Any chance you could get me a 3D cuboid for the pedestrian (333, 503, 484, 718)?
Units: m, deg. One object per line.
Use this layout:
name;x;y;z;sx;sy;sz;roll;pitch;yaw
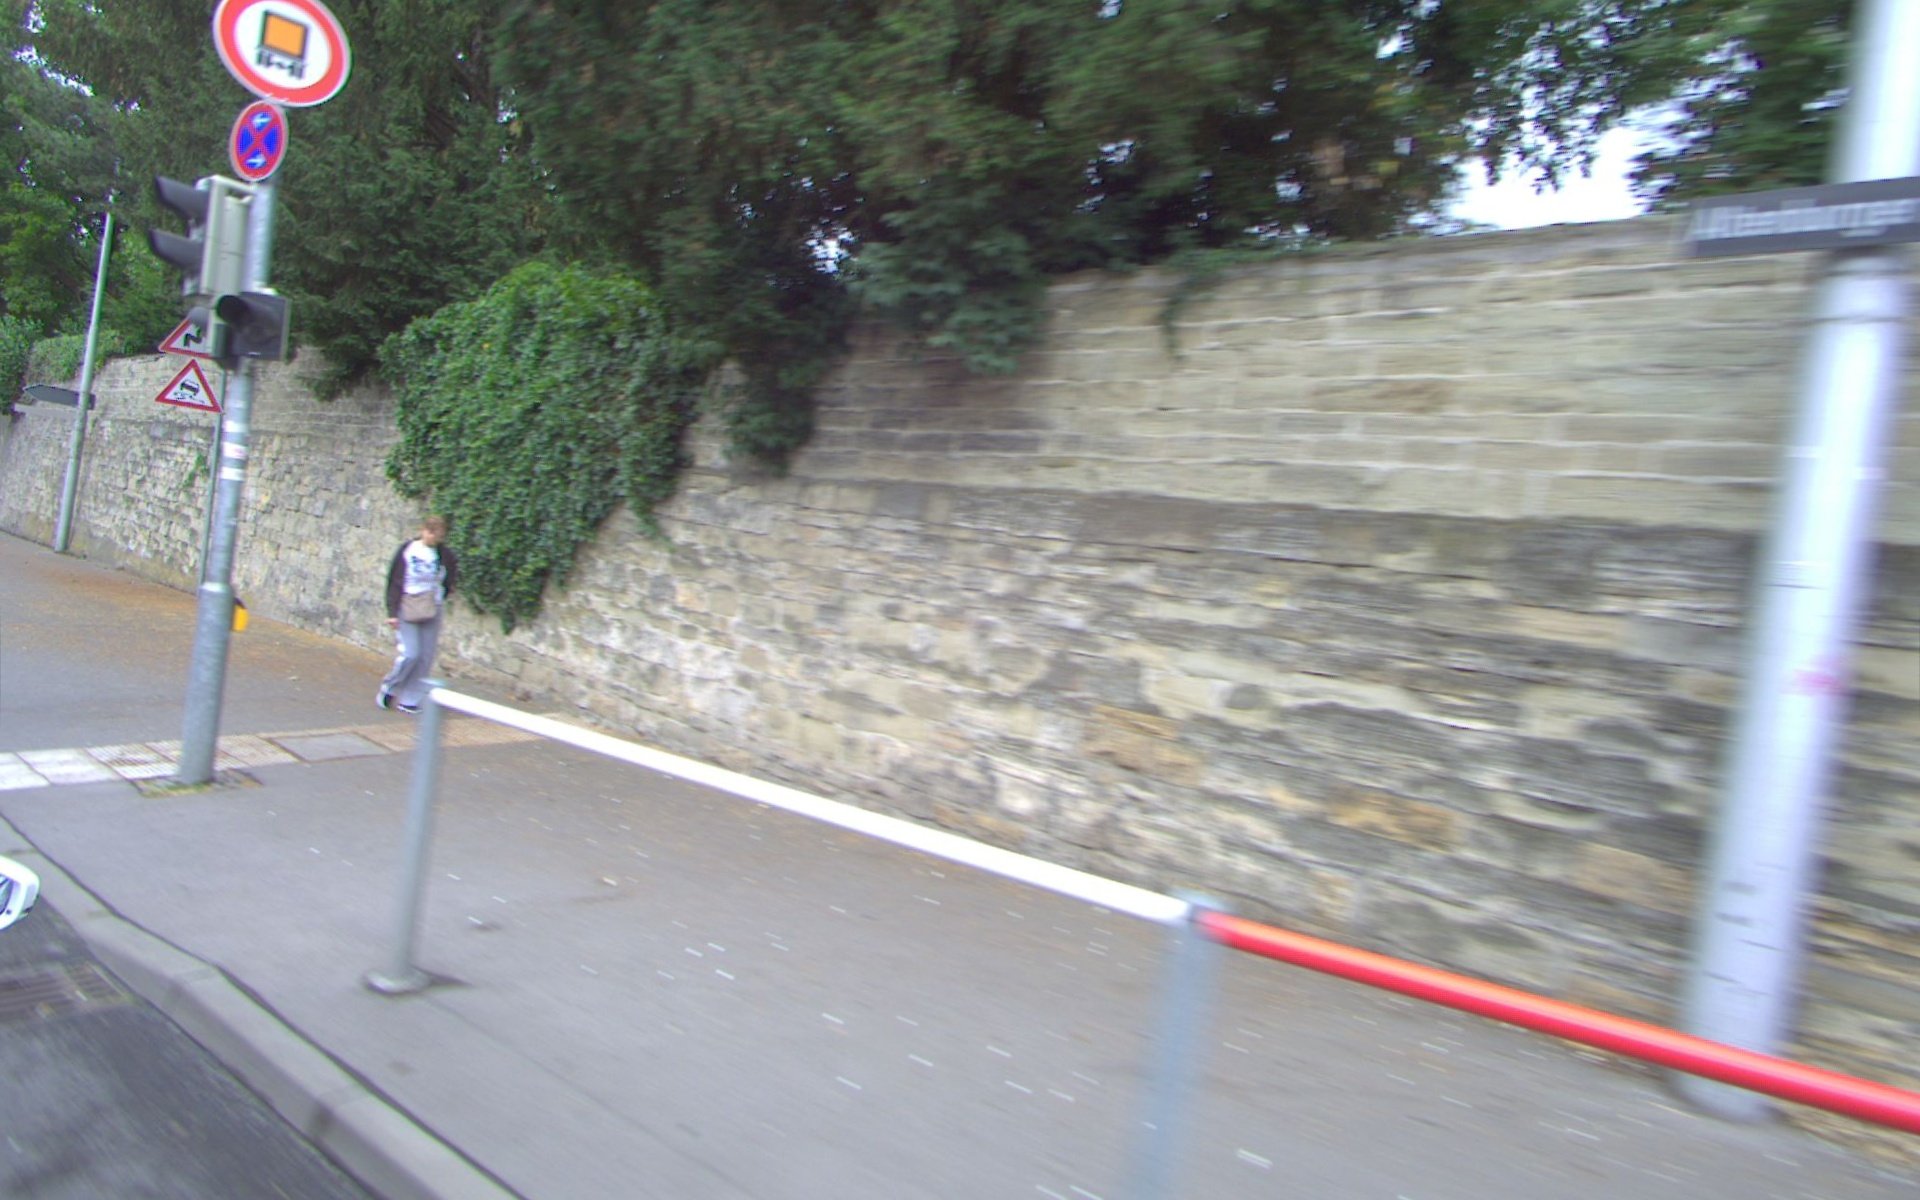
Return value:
pedestrian;-4.423;0.077;8.079;0.732;1.597;0.730;8;3;36
